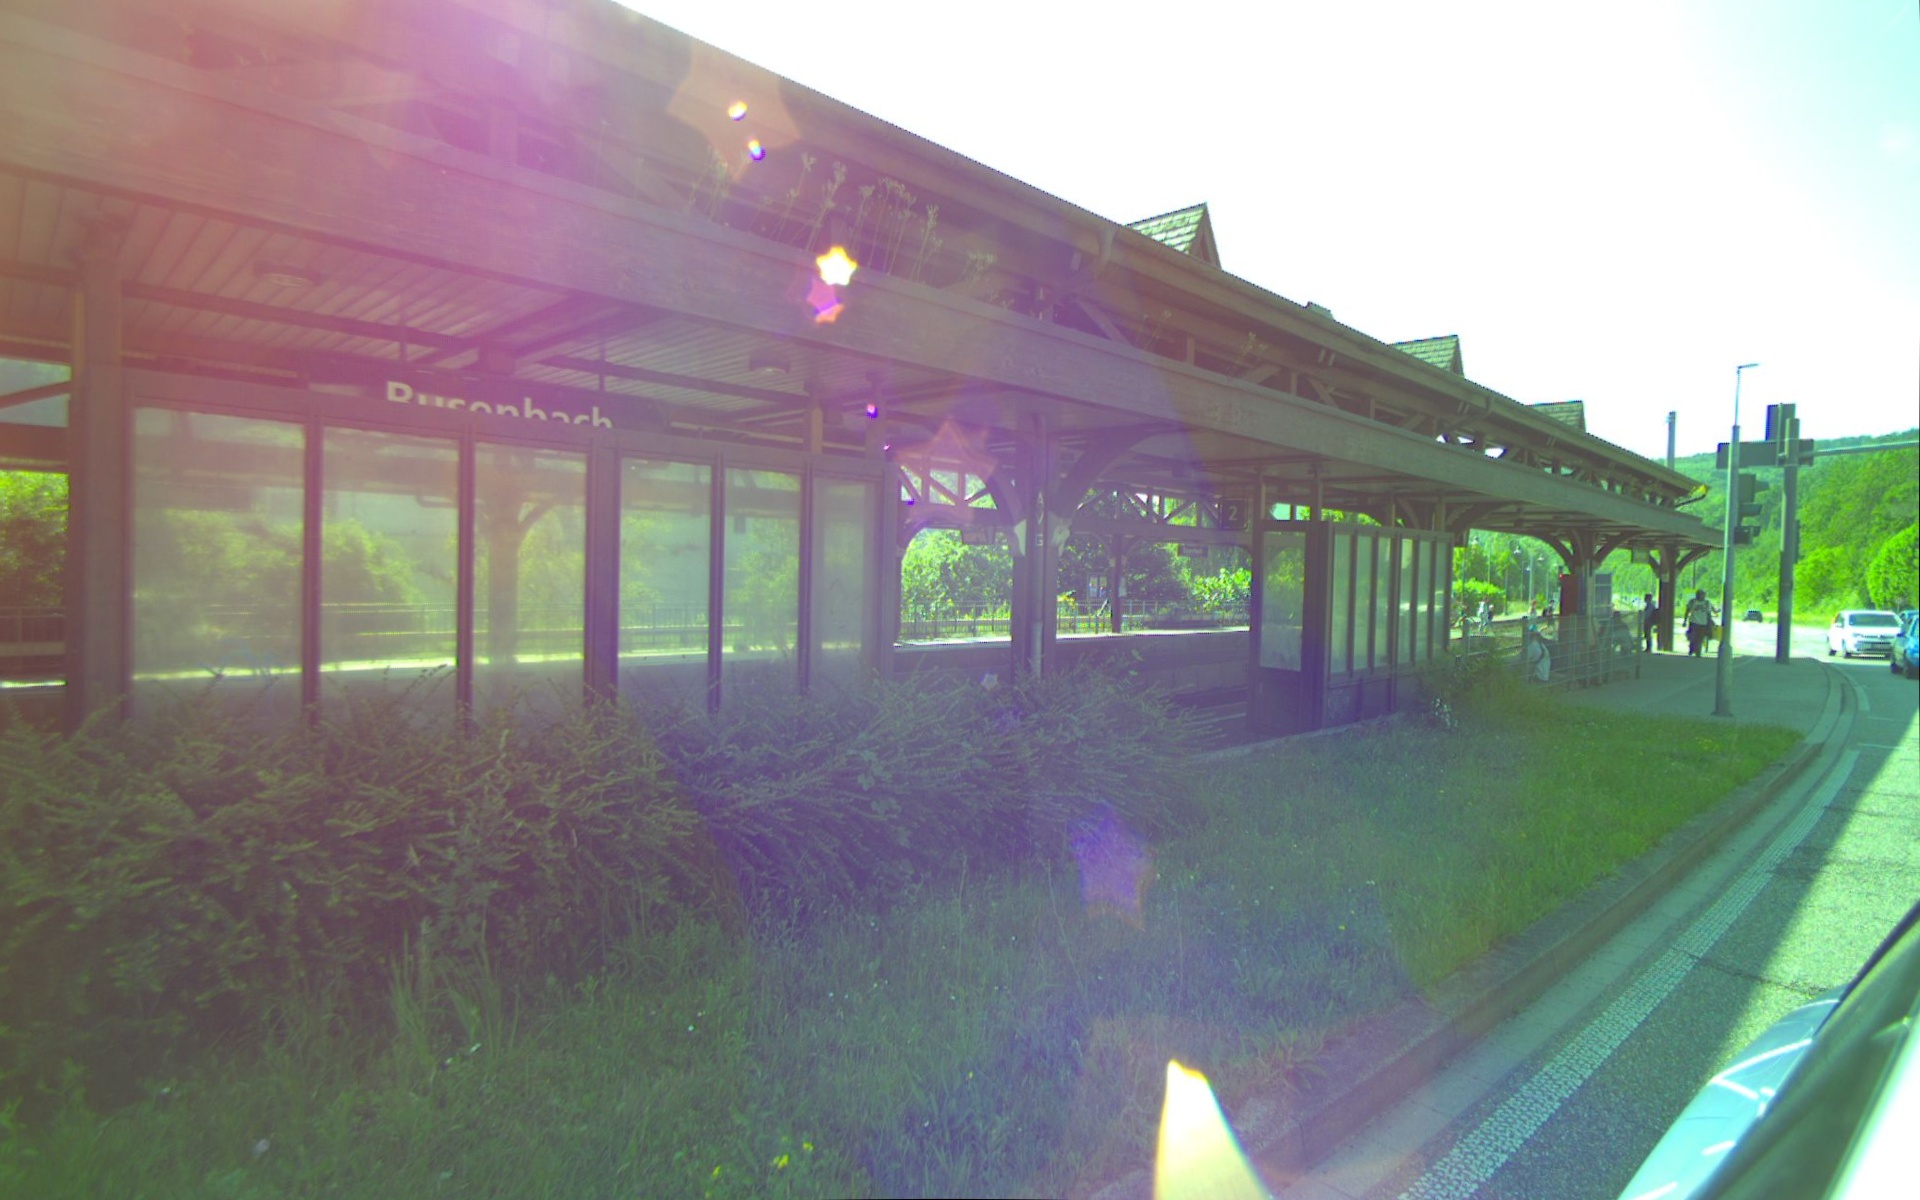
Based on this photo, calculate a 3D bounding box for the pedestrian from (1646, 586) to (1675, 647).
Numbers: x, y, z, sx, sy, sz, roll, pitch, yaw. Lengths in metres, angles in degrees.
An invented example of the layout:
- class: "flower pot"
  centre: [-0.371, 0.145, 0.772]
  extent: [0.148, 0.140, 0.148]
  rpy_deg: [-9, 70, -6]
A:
- class: "pedestrian"
  centre: [20.151, 0.474, 29.113]
  extent: [0.655, 1.713, 0.730]
  rpy_deg: [1, 1, 35]

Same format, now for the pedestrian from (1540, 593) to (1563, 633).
- class: "pedestrian"
  centre: [25.983, 0.571, 44.460]
  extent: [0.669, 1.706, 0.560]
  rpy_deg: [1, -2, -20]

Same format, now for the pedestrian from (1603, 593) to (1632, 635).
- class: "pedestrian"
  centre: [26.989, 0.561, 41.556]
  extent: [0.813, 1.706, 0.896]
  rpy_deg: [0, -2, 24]

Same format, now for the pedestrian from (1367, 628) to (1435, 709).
- class: "pedestrian"
  centre: [6.422, 0.979, 14.743]
  extent: [0.741, 1.131, 0.657]
  rpy_deg: [-1, -2, 42]

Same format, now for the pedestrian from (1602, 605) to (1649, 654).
- class: "pedestrian"
  centre: [17.402, 0.766, 26.456]
  extent: [0.988, 1.251, 0.589]
  rpy_deg: [-1, -2, 36]

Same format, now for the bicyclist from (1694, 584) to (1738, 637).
- class: "bicyclist"
  centre: [23.009, 0.328, 30.808]
  extent: [0.776, 1.589, 0.941]
  rpy_deg: [-1, -1, 18]

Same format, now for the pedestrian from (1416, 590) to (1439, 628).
- class: "pedestrian"
  centre: [21.343, 0.397, 46.197]
  extent: [0.894, 1.706, 1.114]
  rpy_deg: [0, -2, 26]

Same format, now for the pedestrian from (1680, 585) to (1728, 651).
- class: "pedestrian"
  centre: [20.477, 0.500, 27.849]
  extent: [0.913, 1.759, 1.232]
  rpy_deg: [-1, -2, 42]

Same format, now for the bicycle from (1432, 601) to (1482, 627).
- class: "bicycle"
  centre: [23.410, 0.653, 47.679]
  extent: [1.983, 1.224, 0.709]
  rpy_deg: [0, -2, 3]

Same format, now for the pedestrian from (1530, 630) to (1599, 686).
- class: "pedestrian"
  centre: [10.059, 0.944, 16.850]
  extent: [0.844, 0.885, 0.795]
  rpy_deg: [-1, -2, 42]

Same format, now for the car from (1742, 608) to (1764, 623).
- class: "car"
  centre: [93.647, 1.873, 119.521]
  extent: [1.990, 1.772, 3.942]
  rpy_deg: [-1, -2, 40]

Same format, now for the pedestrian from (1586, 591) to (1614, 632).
- class: "pedestrian"
  centre: [26.948, 0.476, 42.592]
  extent: [0.864, 1.706, 0.810]
  rpy_deg: [-1, -2, 42]

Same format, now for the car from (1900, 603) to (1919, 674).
- class: "car"
  centre: [22.143, 0.837, 22.224]
  extent: [1.857, 1.501, 4.241]
  rpy_deg: [2, 1, 39]

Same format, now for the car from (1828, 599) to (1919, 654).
- class: "car"
  centre: [28.646, 0.778, 31.366]
  extent: [1.984, 1.605, 3.955]
  rpy_deg: [-1, -1, 31]

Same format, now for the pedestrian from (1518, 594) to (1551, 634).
- class: "pedestrian"
  centre: [24.831, 0.626, 43.745]
  extent: [0.805, 1.706, 0.905]
  rpy_deg: [1, -2, -20]

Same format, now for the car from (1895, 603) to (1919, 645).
- class: "car"
  centre: [37.704, 0.935, 39.170]
  extent: [1.971, 1.522, 3.930]
  rpy_deg: [2, 1, 39]

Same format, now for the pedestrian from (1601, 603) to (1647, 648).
- class: "pedestrian"
  centre: [18.046, 0.675, 27.500]
  extent: [1.003, 1.174, 0.937]
  rpy_deg: [1, 0, 35]

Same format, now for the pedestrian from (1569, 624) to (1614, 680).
- class: "pedestrian"
  centre: [11.225, 0.913, 17.996]
  extent: [0.616, 0.978, 0.400]
  rpy_deg: [-1, -2, 42]

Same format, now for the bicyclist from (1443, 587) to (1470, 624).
- class: "bicyclist"
  centre: [23.377, 0.251, 47.677]
  extent: [0.887, 1.706, 0.821]
  rpy_deg: [0, -2, 3]

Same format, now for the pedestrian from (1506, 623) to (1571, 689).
- class: "pedestrian"
  centre: [9.114, 0.864, 15.948]
  extent: [0.741, 0.995, 0.757]
  rpy_deg: [-1, -2, 42]

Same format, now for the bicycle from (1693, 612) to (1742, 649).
- class: "bicycle"
  centre: [22.993, 0.904, 30.746]
  extent: [0.596, 1.069, 1.803]
  rpy_deg: [-1, -1, 17]

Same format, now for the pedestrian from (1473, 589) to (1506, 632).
- class: "pedestrian"
  centre: [23.677, 0.471, 45.242]
  extent: [1.054, 1.867, 0.989]
  rpy_deg: [3, -2, -42]
